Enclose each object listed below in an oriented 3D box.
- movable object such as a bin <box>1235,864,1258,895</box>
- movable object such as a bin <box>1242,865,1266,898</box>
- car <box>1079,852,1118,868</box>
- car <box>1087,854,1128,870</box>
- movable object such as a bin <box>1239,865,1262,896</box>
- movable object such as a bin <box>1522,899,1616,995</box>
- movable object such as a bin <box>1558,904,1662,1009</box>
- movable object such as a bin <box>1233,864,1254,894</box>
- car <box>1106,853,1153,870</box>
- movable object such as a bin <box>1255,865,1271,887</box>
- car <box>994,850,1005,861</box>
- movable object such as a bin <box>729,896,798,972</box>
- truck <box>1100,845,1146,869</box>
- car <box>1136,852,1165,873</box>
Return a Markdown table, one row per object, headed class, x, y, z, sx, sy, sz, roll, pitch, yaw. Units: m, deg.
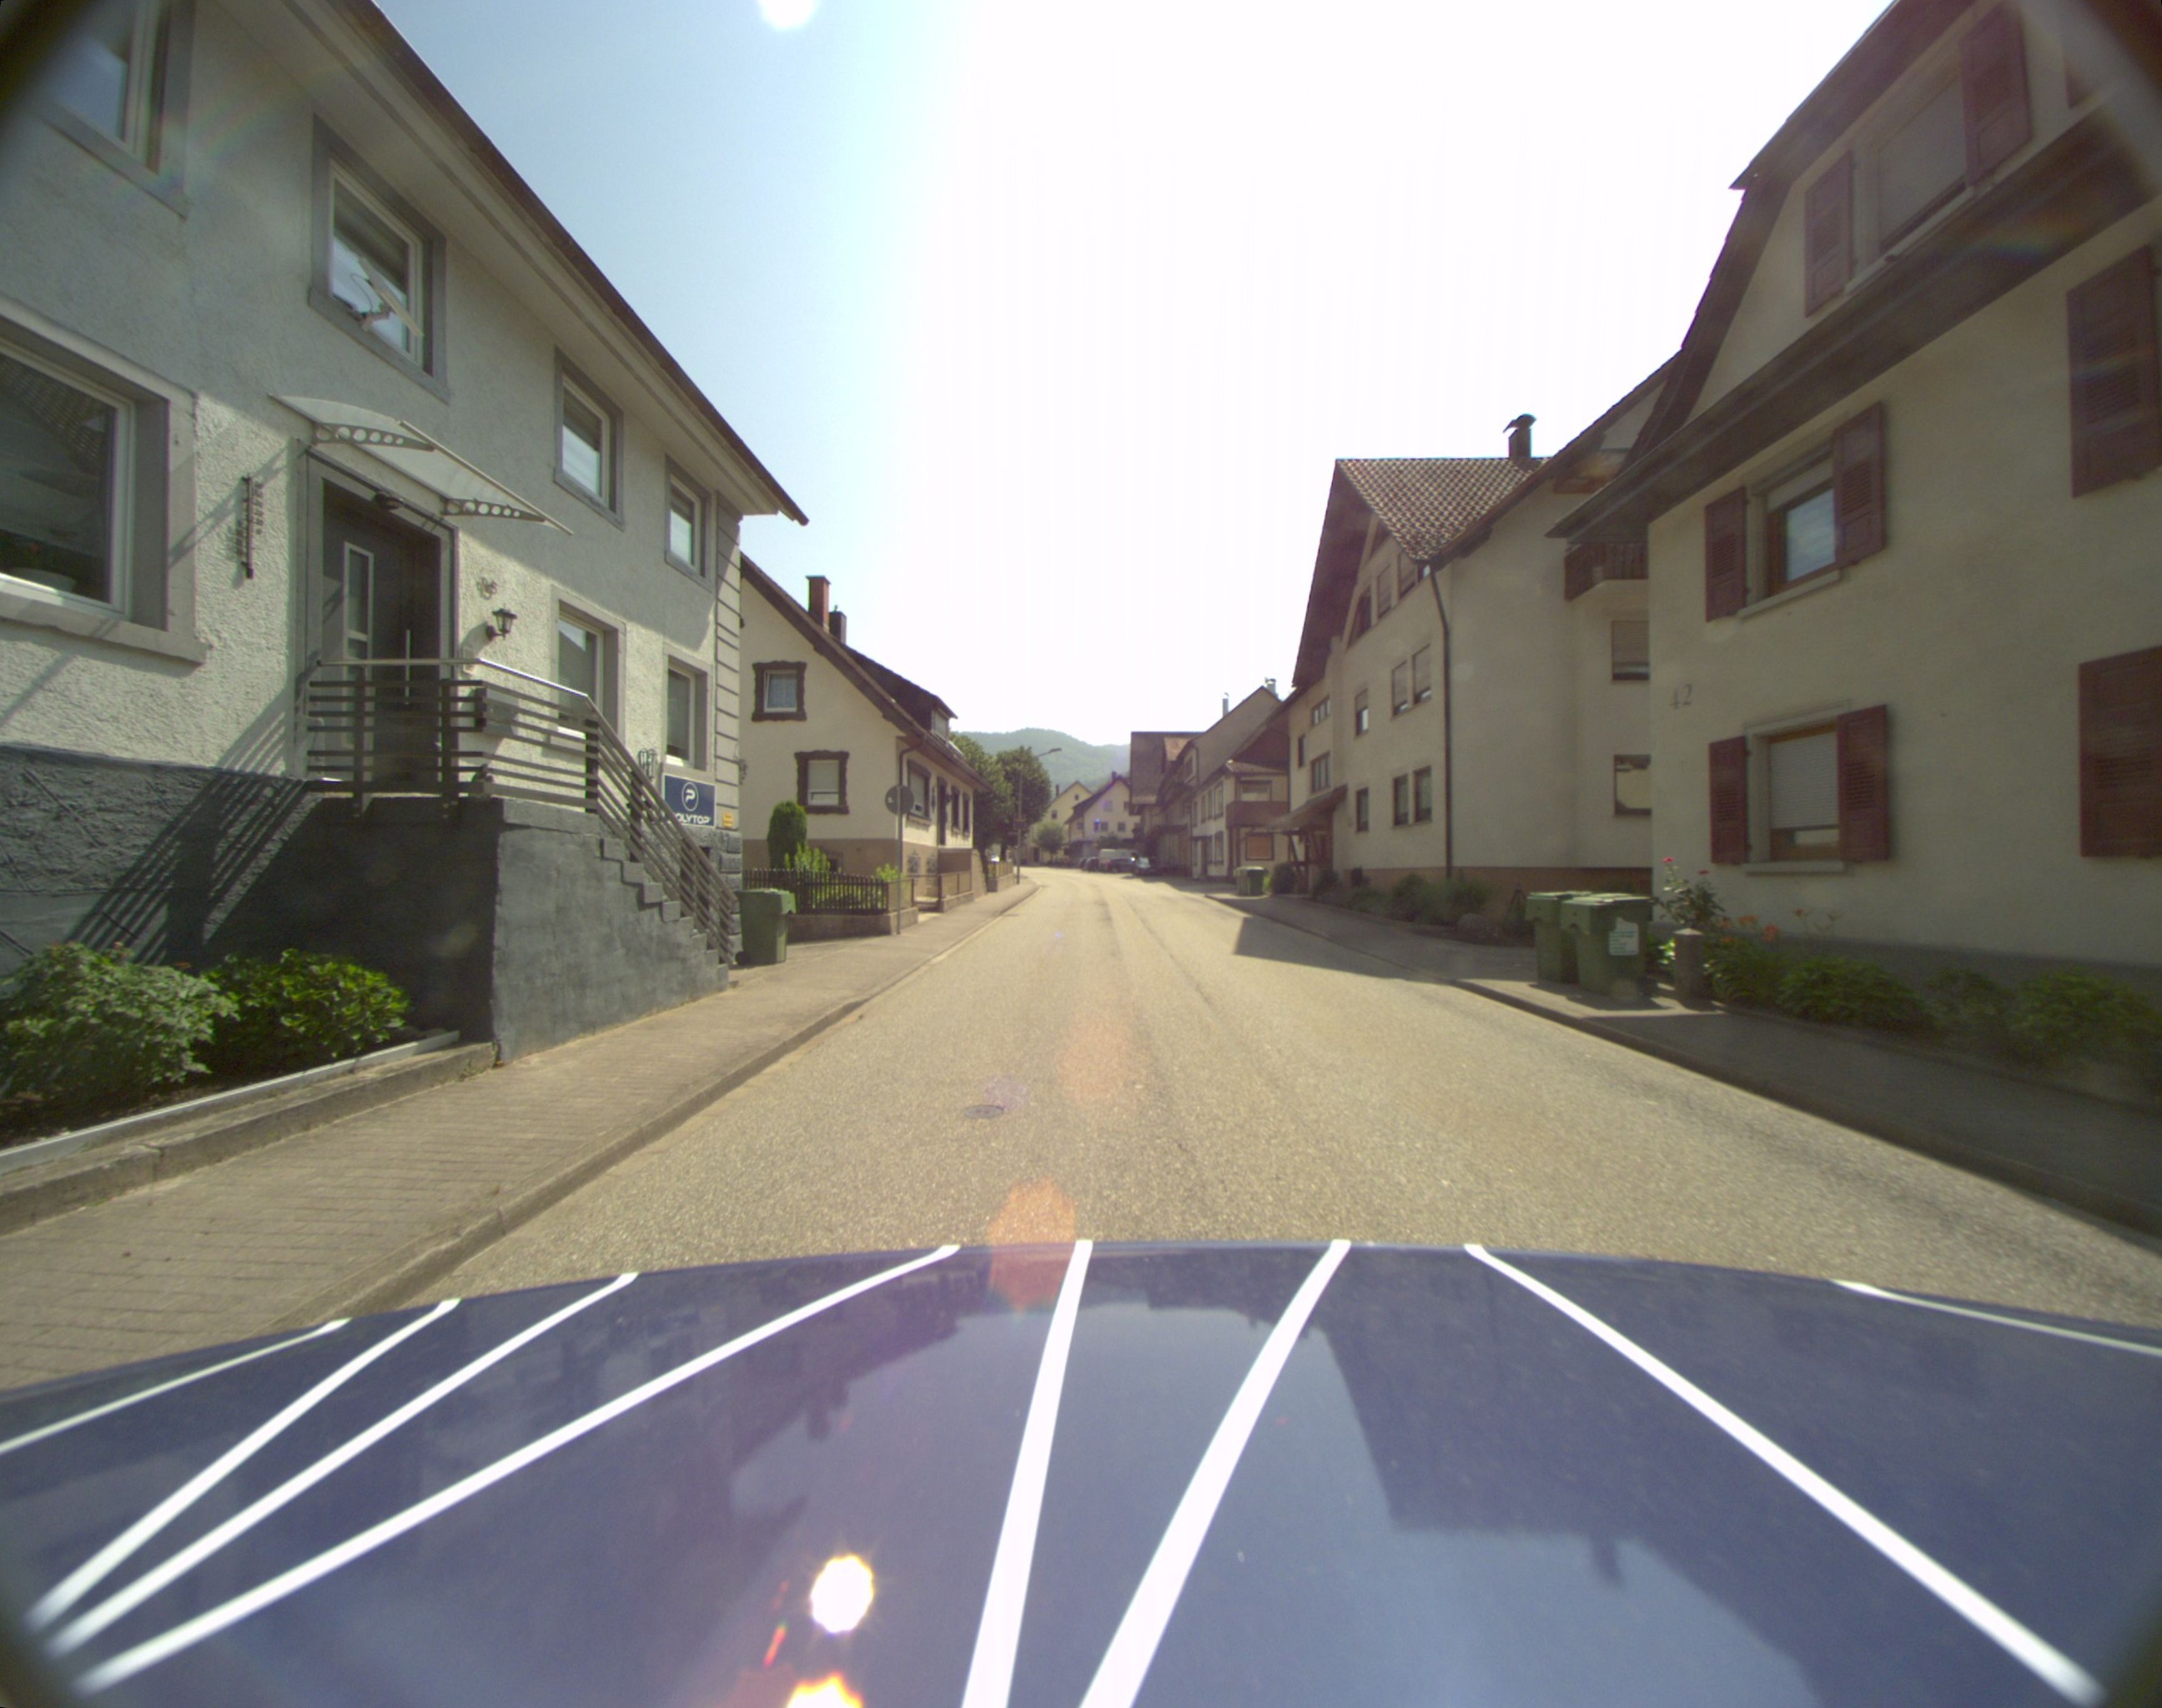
| class | x | y | z | sx | sy | sz | roll | pitch | yaw |
| --- | --- | --- | --- | --- | --- | --- | --- | --- | --- |
| movable object such as a bin | 6.453 | 0.999 | 29.649 | 0.719 | 1.174 | 0.598 | 2 | 0 | 1 |
| movable object such as a bin | 6.450 | 1.013 | 28.340 | 0.719 | 1.174 | 0.598 | 2 | 0 | 1 |
| car | 1.875 | 0.652 | 80.506 | 3.996 | 1.563 | 1.577 | 2 | 0 | 2 |
| car | 2.688 | 0.785 | 77.483 | 3.998 | 1.444 | 1.627 | 2 | 0 | -4 |
| movable object such as a bin | 6.459 | 1.006 | 28.997 | 0.719 | 1.174 | 0.598 | 2 | 0 | 1 |
| movable object such as a bin | 5.782 | 1.089 | 9.030 | 0.677 | 1.060 | 0.653 | 0 | 1 | -1 |
| movable object such as a bin | 5.706 | 1.090 | 8.226 | 0.677 | 1.060 | 0.621 | 0 | 1 | -1 |
| movable object such as a bin | 6.476 | 0.992 | 30.308 | 0.719 | 1.174 | 0.598 | 2 | 0 | 1 |
| car | 4.336 | 0.702 | 68.522 | 4.105 | 1.494 | 1.753 | 0 | 0 | -1 |
| movable object such as a bin | 9.241 | 1.113 | 38.528 | 0.623 | 1.045 | 0.696 | 1 | 1 | 0 |
| car | -15.308 | 0.379 | 142.741 | 1.999 | 2.001 | 3.999 | 0 | -1 | -4 |
| movable object such as a bin | -4.510 | 1.123 | 10.826 | 0.706 | 1.014 | 0.618 | 0 | 1 | 2 |
| truck | 4.039 | 0.267 | 73.535 | 4.178 | 2.253 | 1.999 | -1 | 1 | -5 |
| car | 5.563 | 0.653 | 61.002 | 1.774 | 1.544 | 4.284 | -1 | 0 | -2 |
